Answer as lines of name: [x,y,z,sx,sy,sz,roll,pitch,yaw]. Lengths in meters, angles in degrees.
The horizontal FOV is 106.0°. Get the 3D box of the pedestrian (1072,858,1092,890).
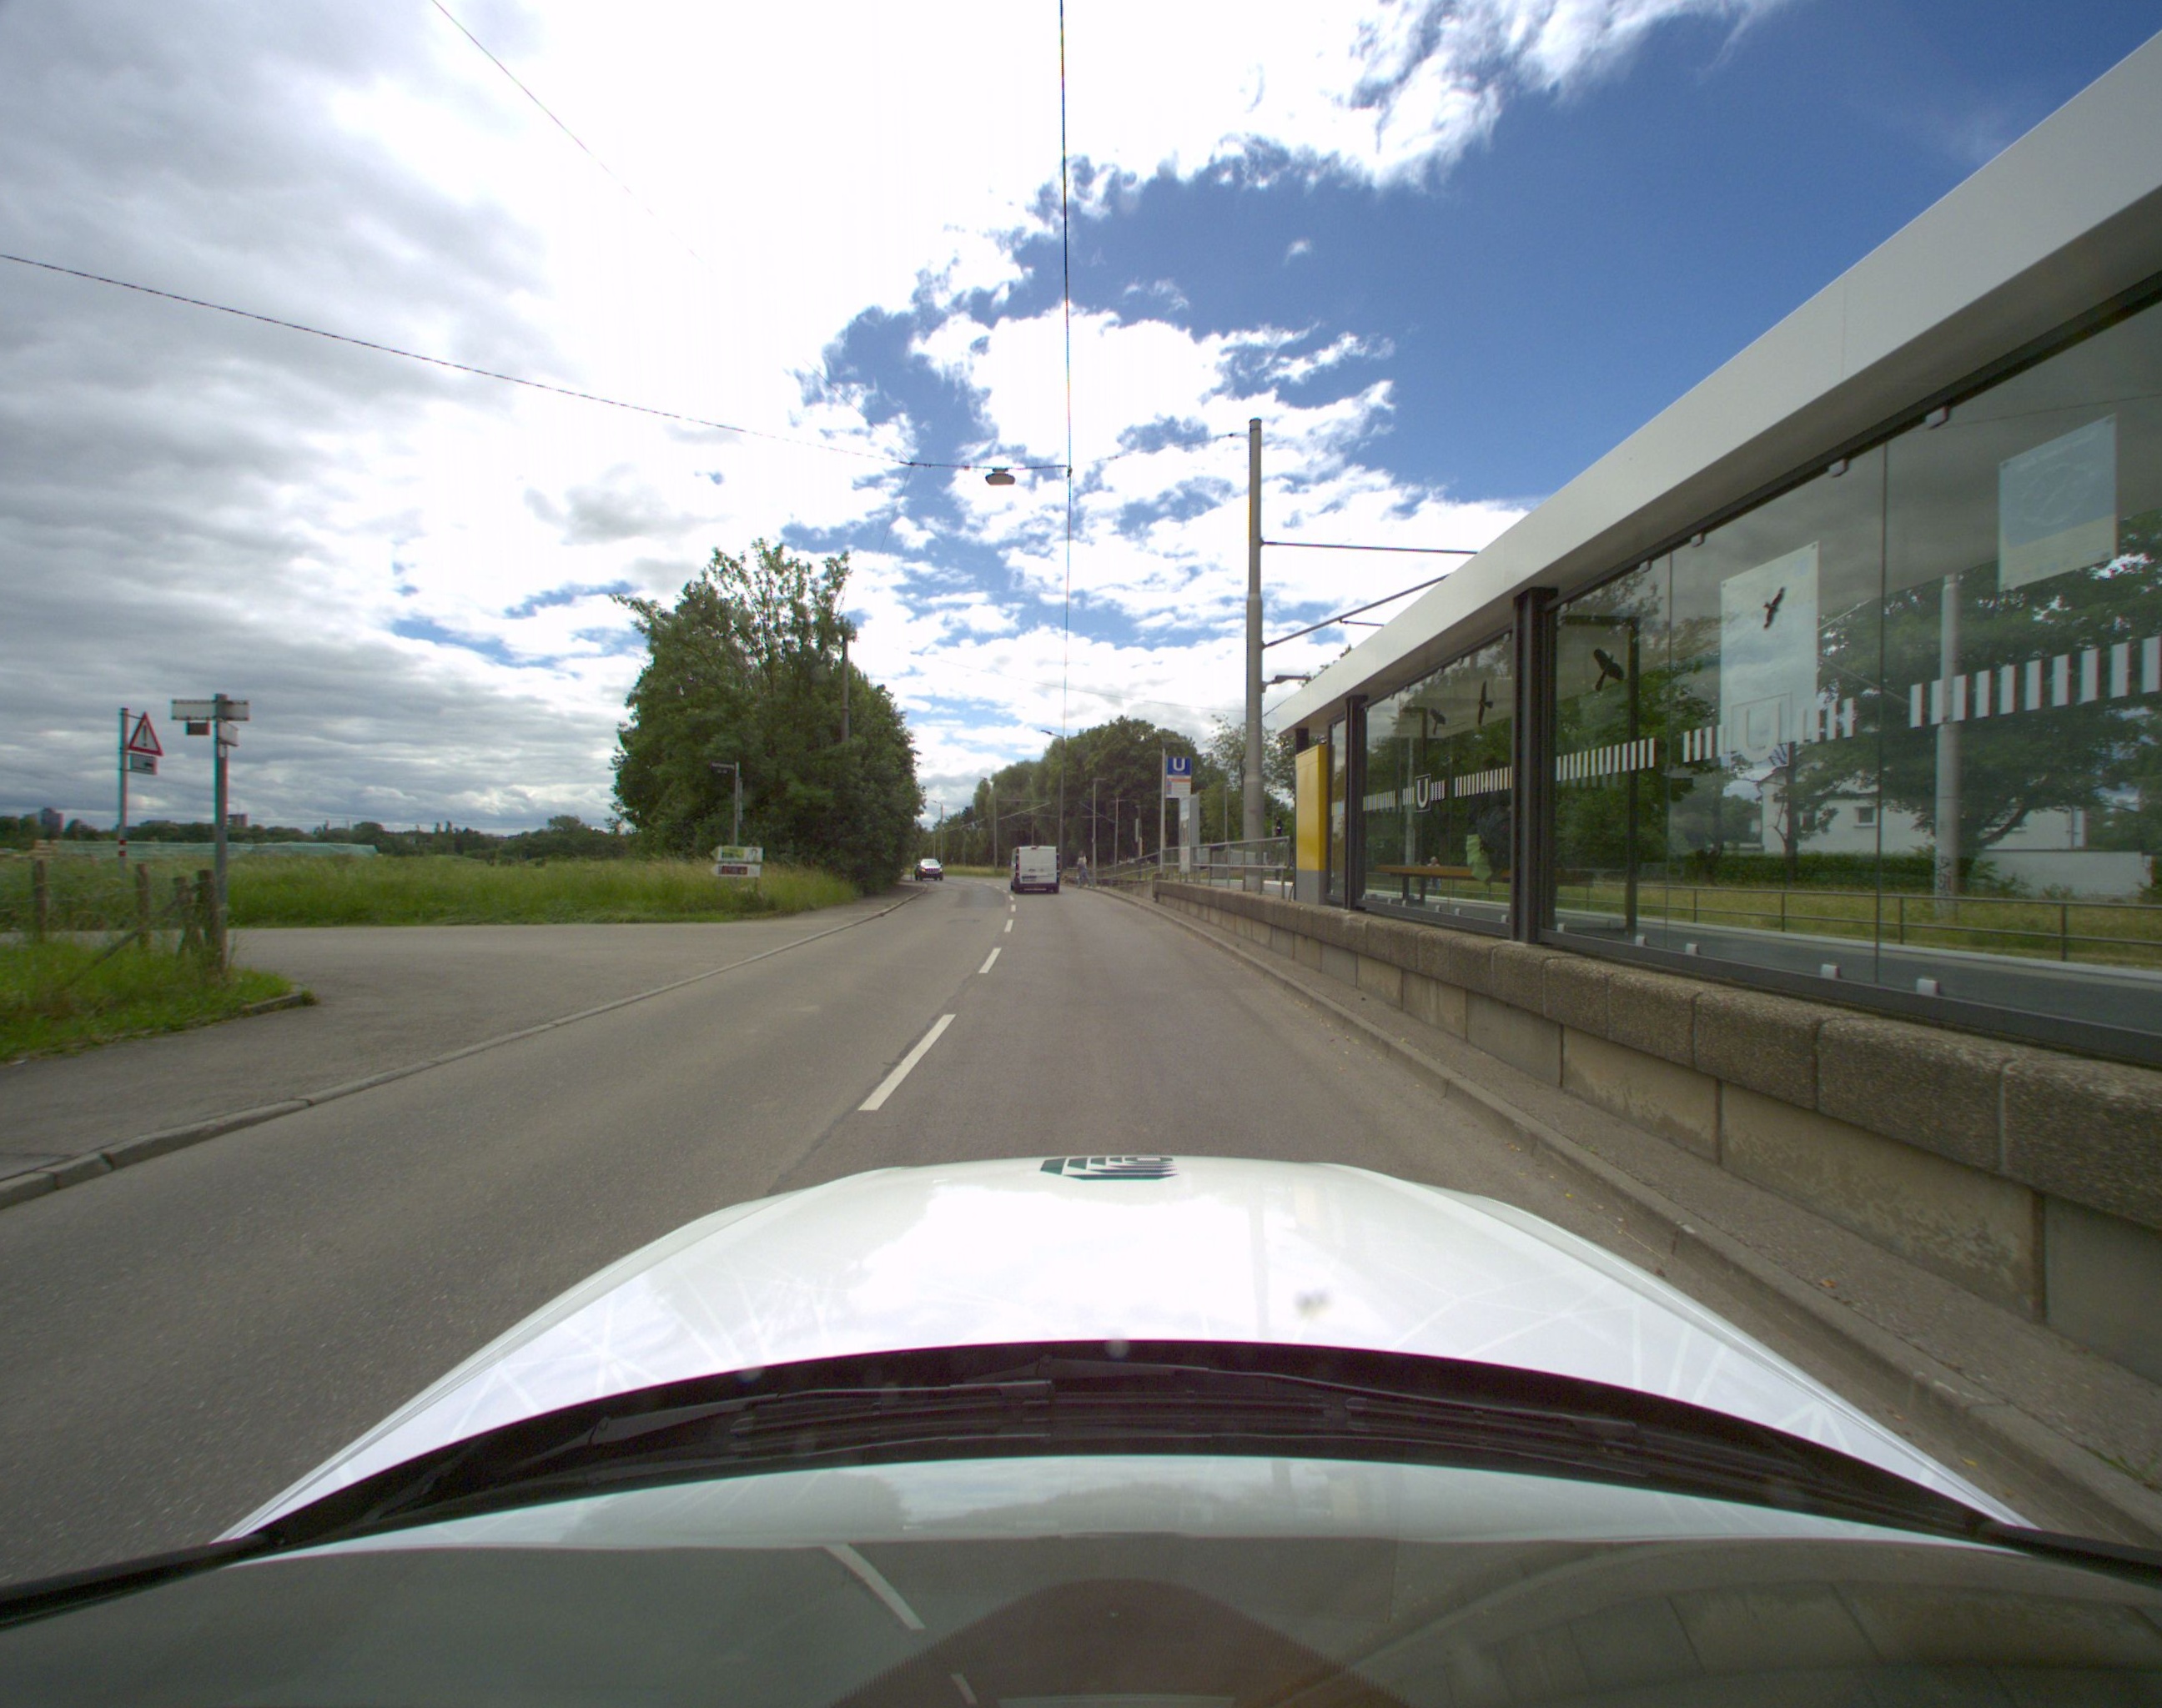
pedestrian: [0.053,0.962,39.216,0.762,1.492,0.625,0,-1,-26]

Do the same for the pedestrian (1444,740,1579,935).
pedestrian: [3.276,-0.127,6.255,0.636,1.404,0.764,0,1,0]

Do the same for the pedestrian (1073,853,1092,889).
pedestrian: [0.071,0.830,40.635,0.762,1.795,0.625,0,-1,-26]

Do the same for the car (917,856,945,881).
car: [-12.537,1.180,67.899,1.996,2.014,4.302,0,-1,-14]

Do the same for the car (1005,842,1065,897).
car: [-2.100,0.652,35.331,2.115,2.134,5.425,1,-1,-8]
